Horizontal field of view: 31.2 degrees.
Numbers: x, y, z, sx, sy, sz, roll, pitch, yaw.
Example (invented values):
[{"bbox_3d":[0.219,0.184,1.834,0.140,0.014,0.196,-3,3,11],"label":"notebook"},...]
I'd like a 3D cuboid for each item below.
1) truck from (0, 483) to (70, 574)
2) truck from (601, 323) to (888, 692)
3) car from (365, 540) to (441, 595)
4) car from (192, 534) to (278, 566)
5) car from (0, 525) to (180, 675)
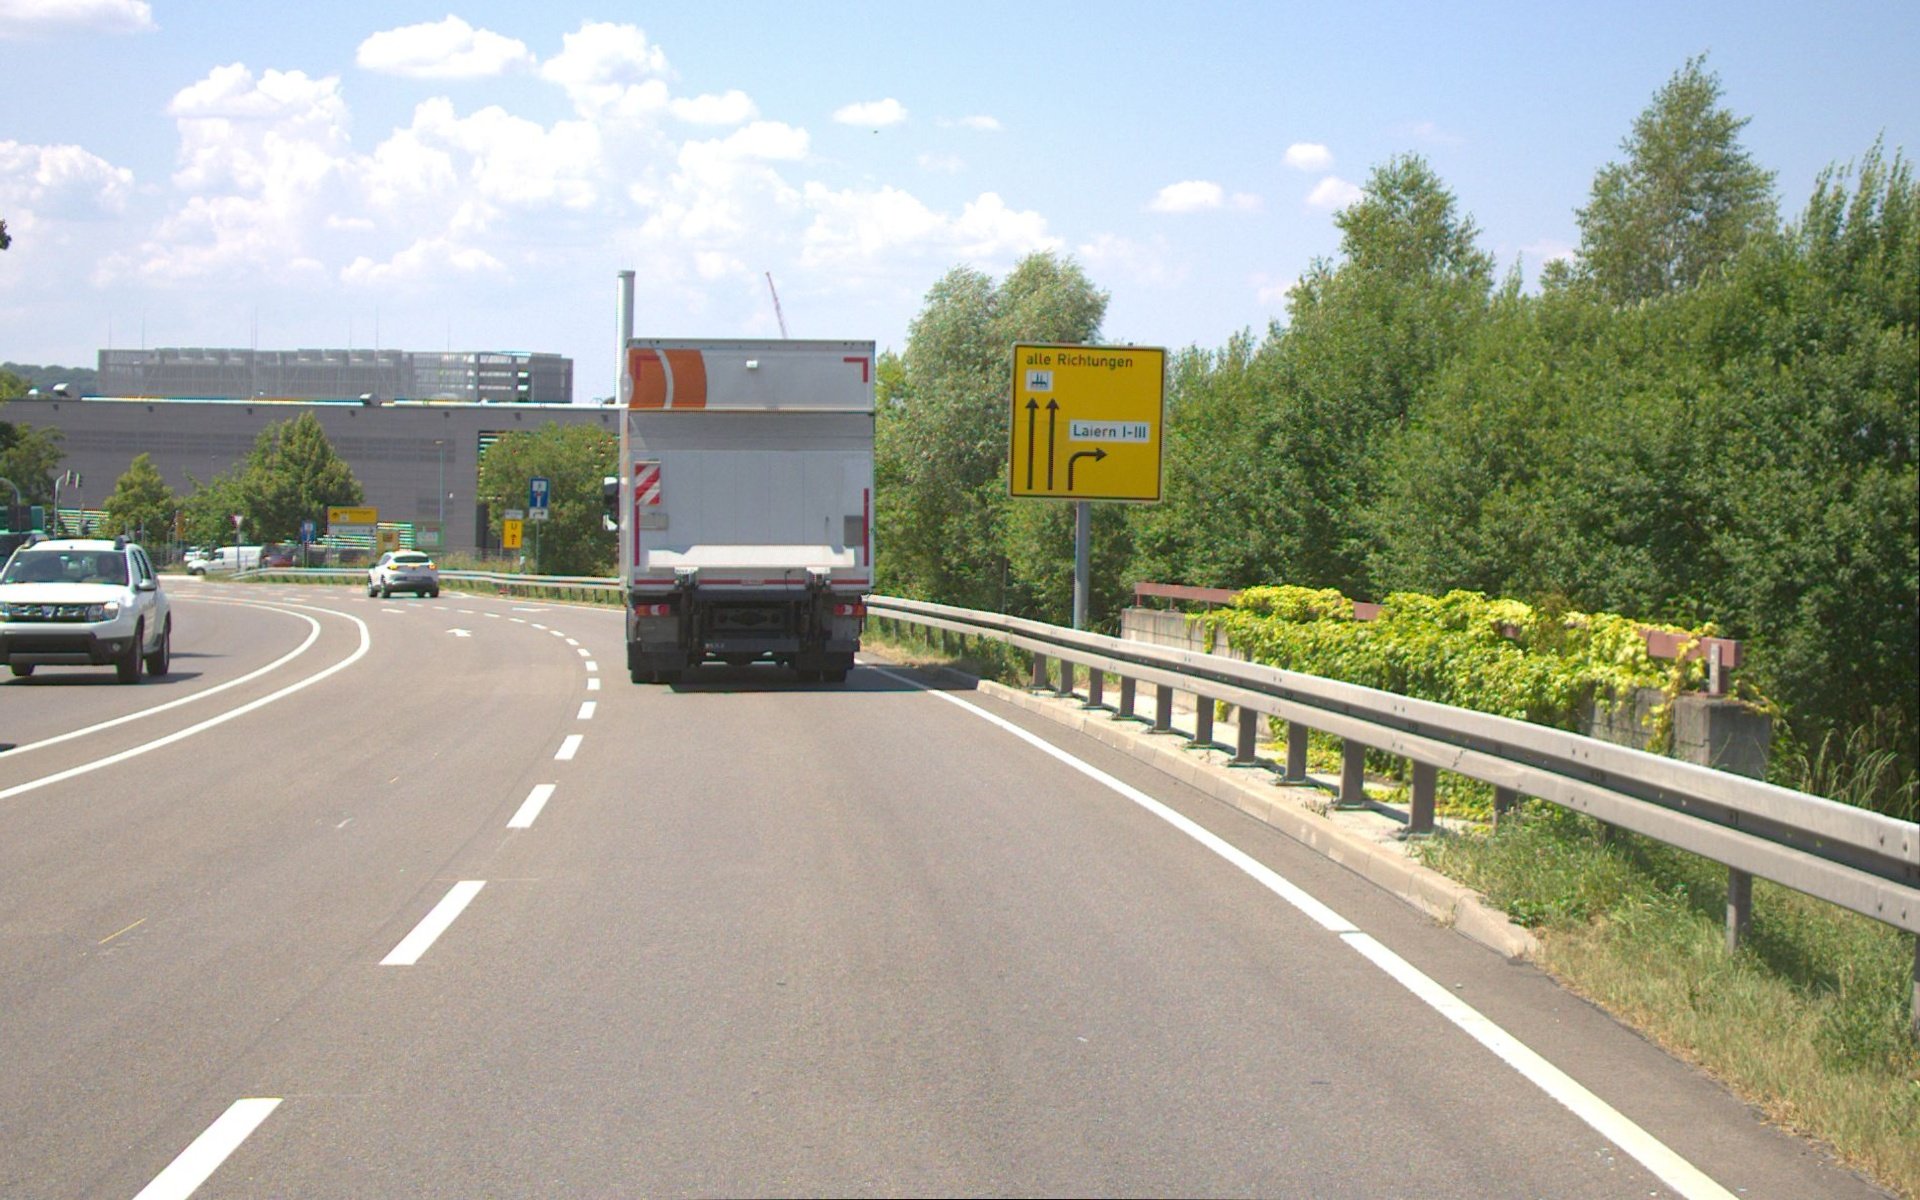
[{"bbox_3d":[-37.953,-2.876,139.550,2.868,3.562,9.434,-1,1,-18],"label":"truck"},{"bbox_3d":[-2.274,-1.050,39.369,2.803,3.698,9.109,1,1,-1],"label":"truck"},{"bbox_3d":[-18.205,-1.075,112.243,1.943,1.658,4.001,3,0,-16],"label":"car"},{"bbox_3d":[-43.650,-2.994,207.021,4.744,1.925,2.154,0,1,-3],"label":"car"},{"bbox_3d":[-10.134,-0.040,39.147,1.993,1.623,4.198,0,1,-7],"label":"car"}]
